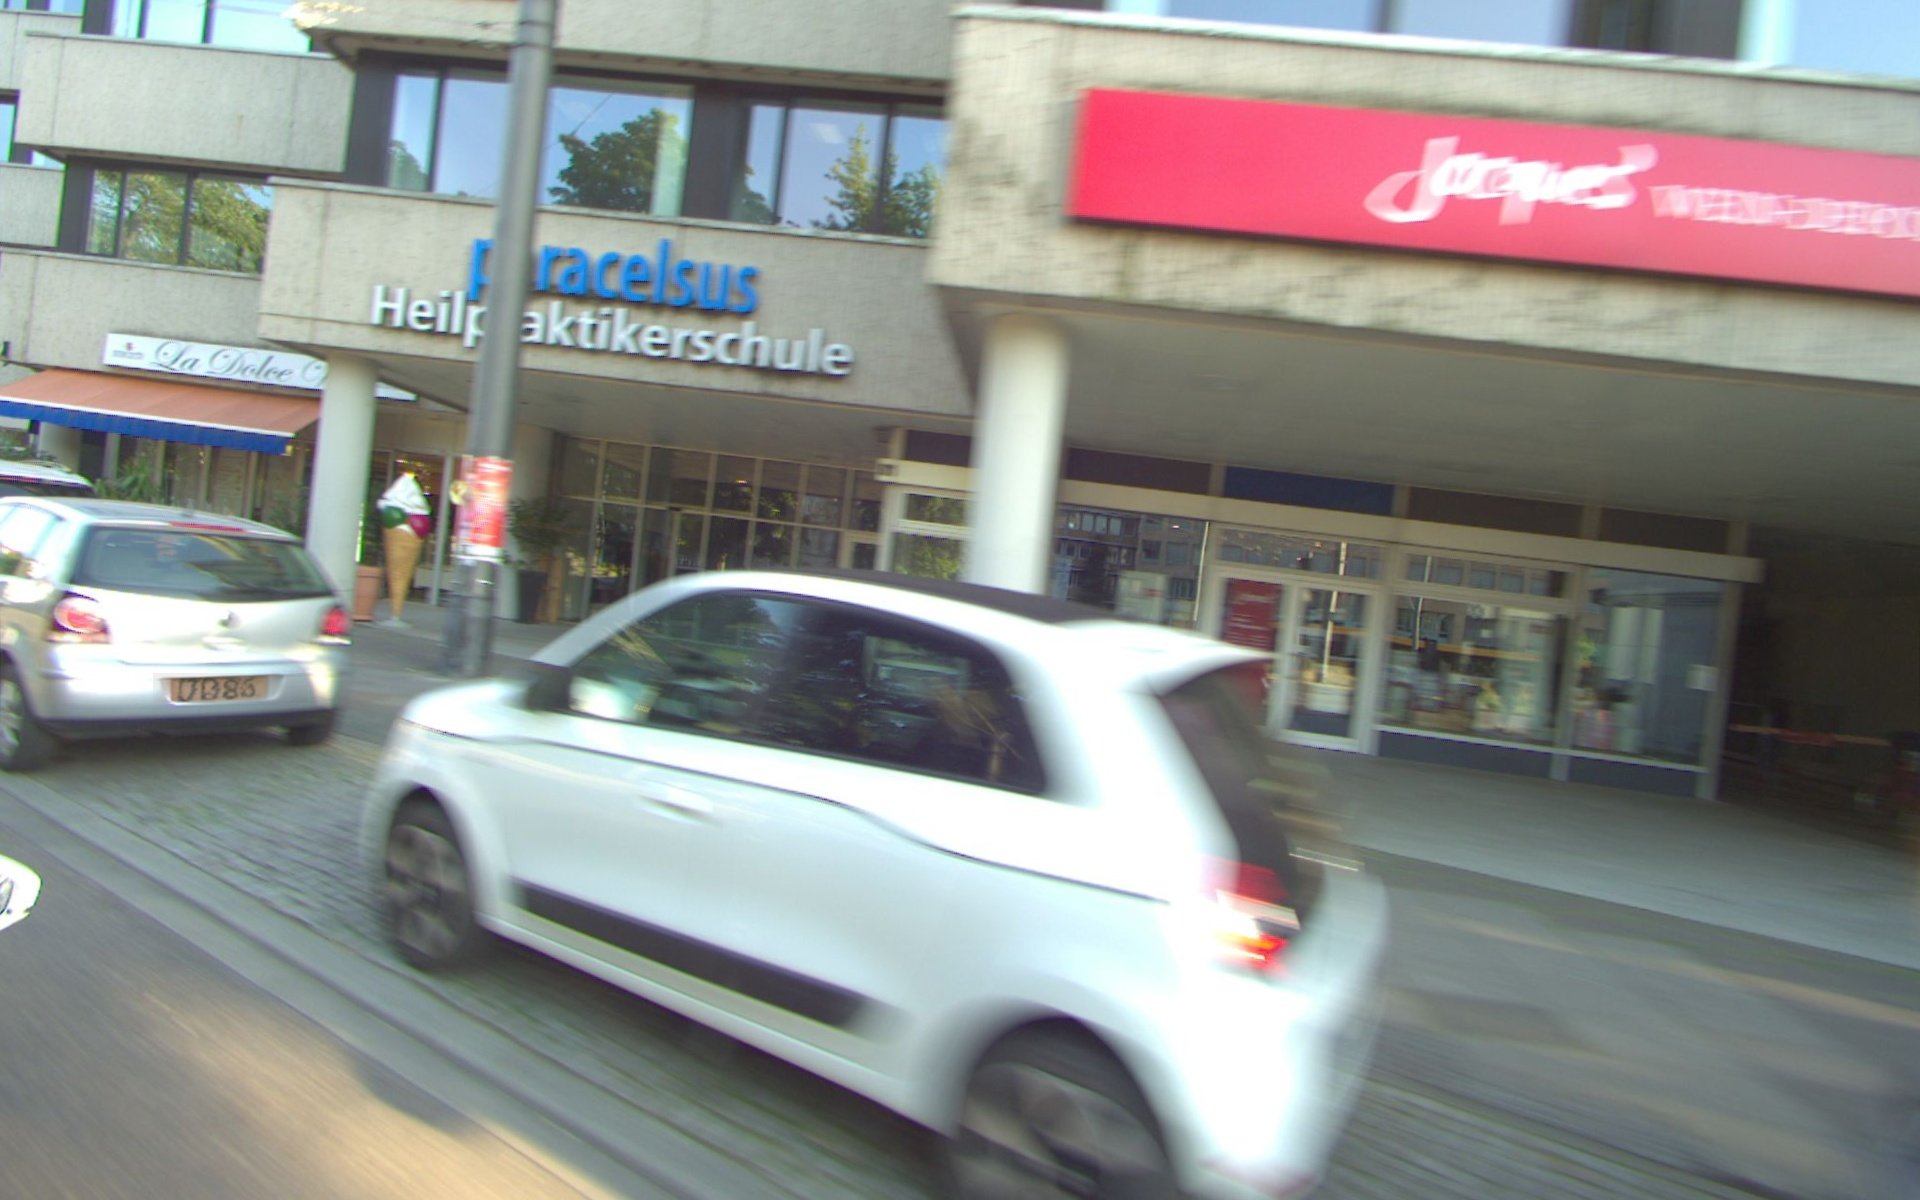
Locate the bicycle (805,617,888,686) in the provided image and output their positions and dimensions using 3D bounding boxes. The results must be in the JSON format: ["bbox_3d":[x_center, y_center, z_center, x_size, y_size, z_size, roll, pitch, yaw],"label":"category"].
[{"bbox_3d":[-1.511,0.712,13.604,0.429,0.838,1.397,7,-1,22],"label":"bicycle"}]

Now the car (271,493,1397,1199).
[{"bbox_3d":[-0.564,0.660,3.592,3.605,1.609,1.588,7,-1,30],"label":"car"}]

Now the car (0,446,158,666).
[{"bbox_3d":[-9.926,-0.592,9.726,4.326,1.826,1.787,7,-1,30],"label":"car"}]

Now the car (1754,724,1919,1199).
[{"bbox_3d":[3.545,1.204,1.086,3.935,1.474,1.786,6,0,33],"label":"car"}]

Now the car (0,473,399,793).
[{"bbox_3d":[-5.720,0.056,6.691,3.934,1.546,1.643,7,-1,32],"label":"car"}]
